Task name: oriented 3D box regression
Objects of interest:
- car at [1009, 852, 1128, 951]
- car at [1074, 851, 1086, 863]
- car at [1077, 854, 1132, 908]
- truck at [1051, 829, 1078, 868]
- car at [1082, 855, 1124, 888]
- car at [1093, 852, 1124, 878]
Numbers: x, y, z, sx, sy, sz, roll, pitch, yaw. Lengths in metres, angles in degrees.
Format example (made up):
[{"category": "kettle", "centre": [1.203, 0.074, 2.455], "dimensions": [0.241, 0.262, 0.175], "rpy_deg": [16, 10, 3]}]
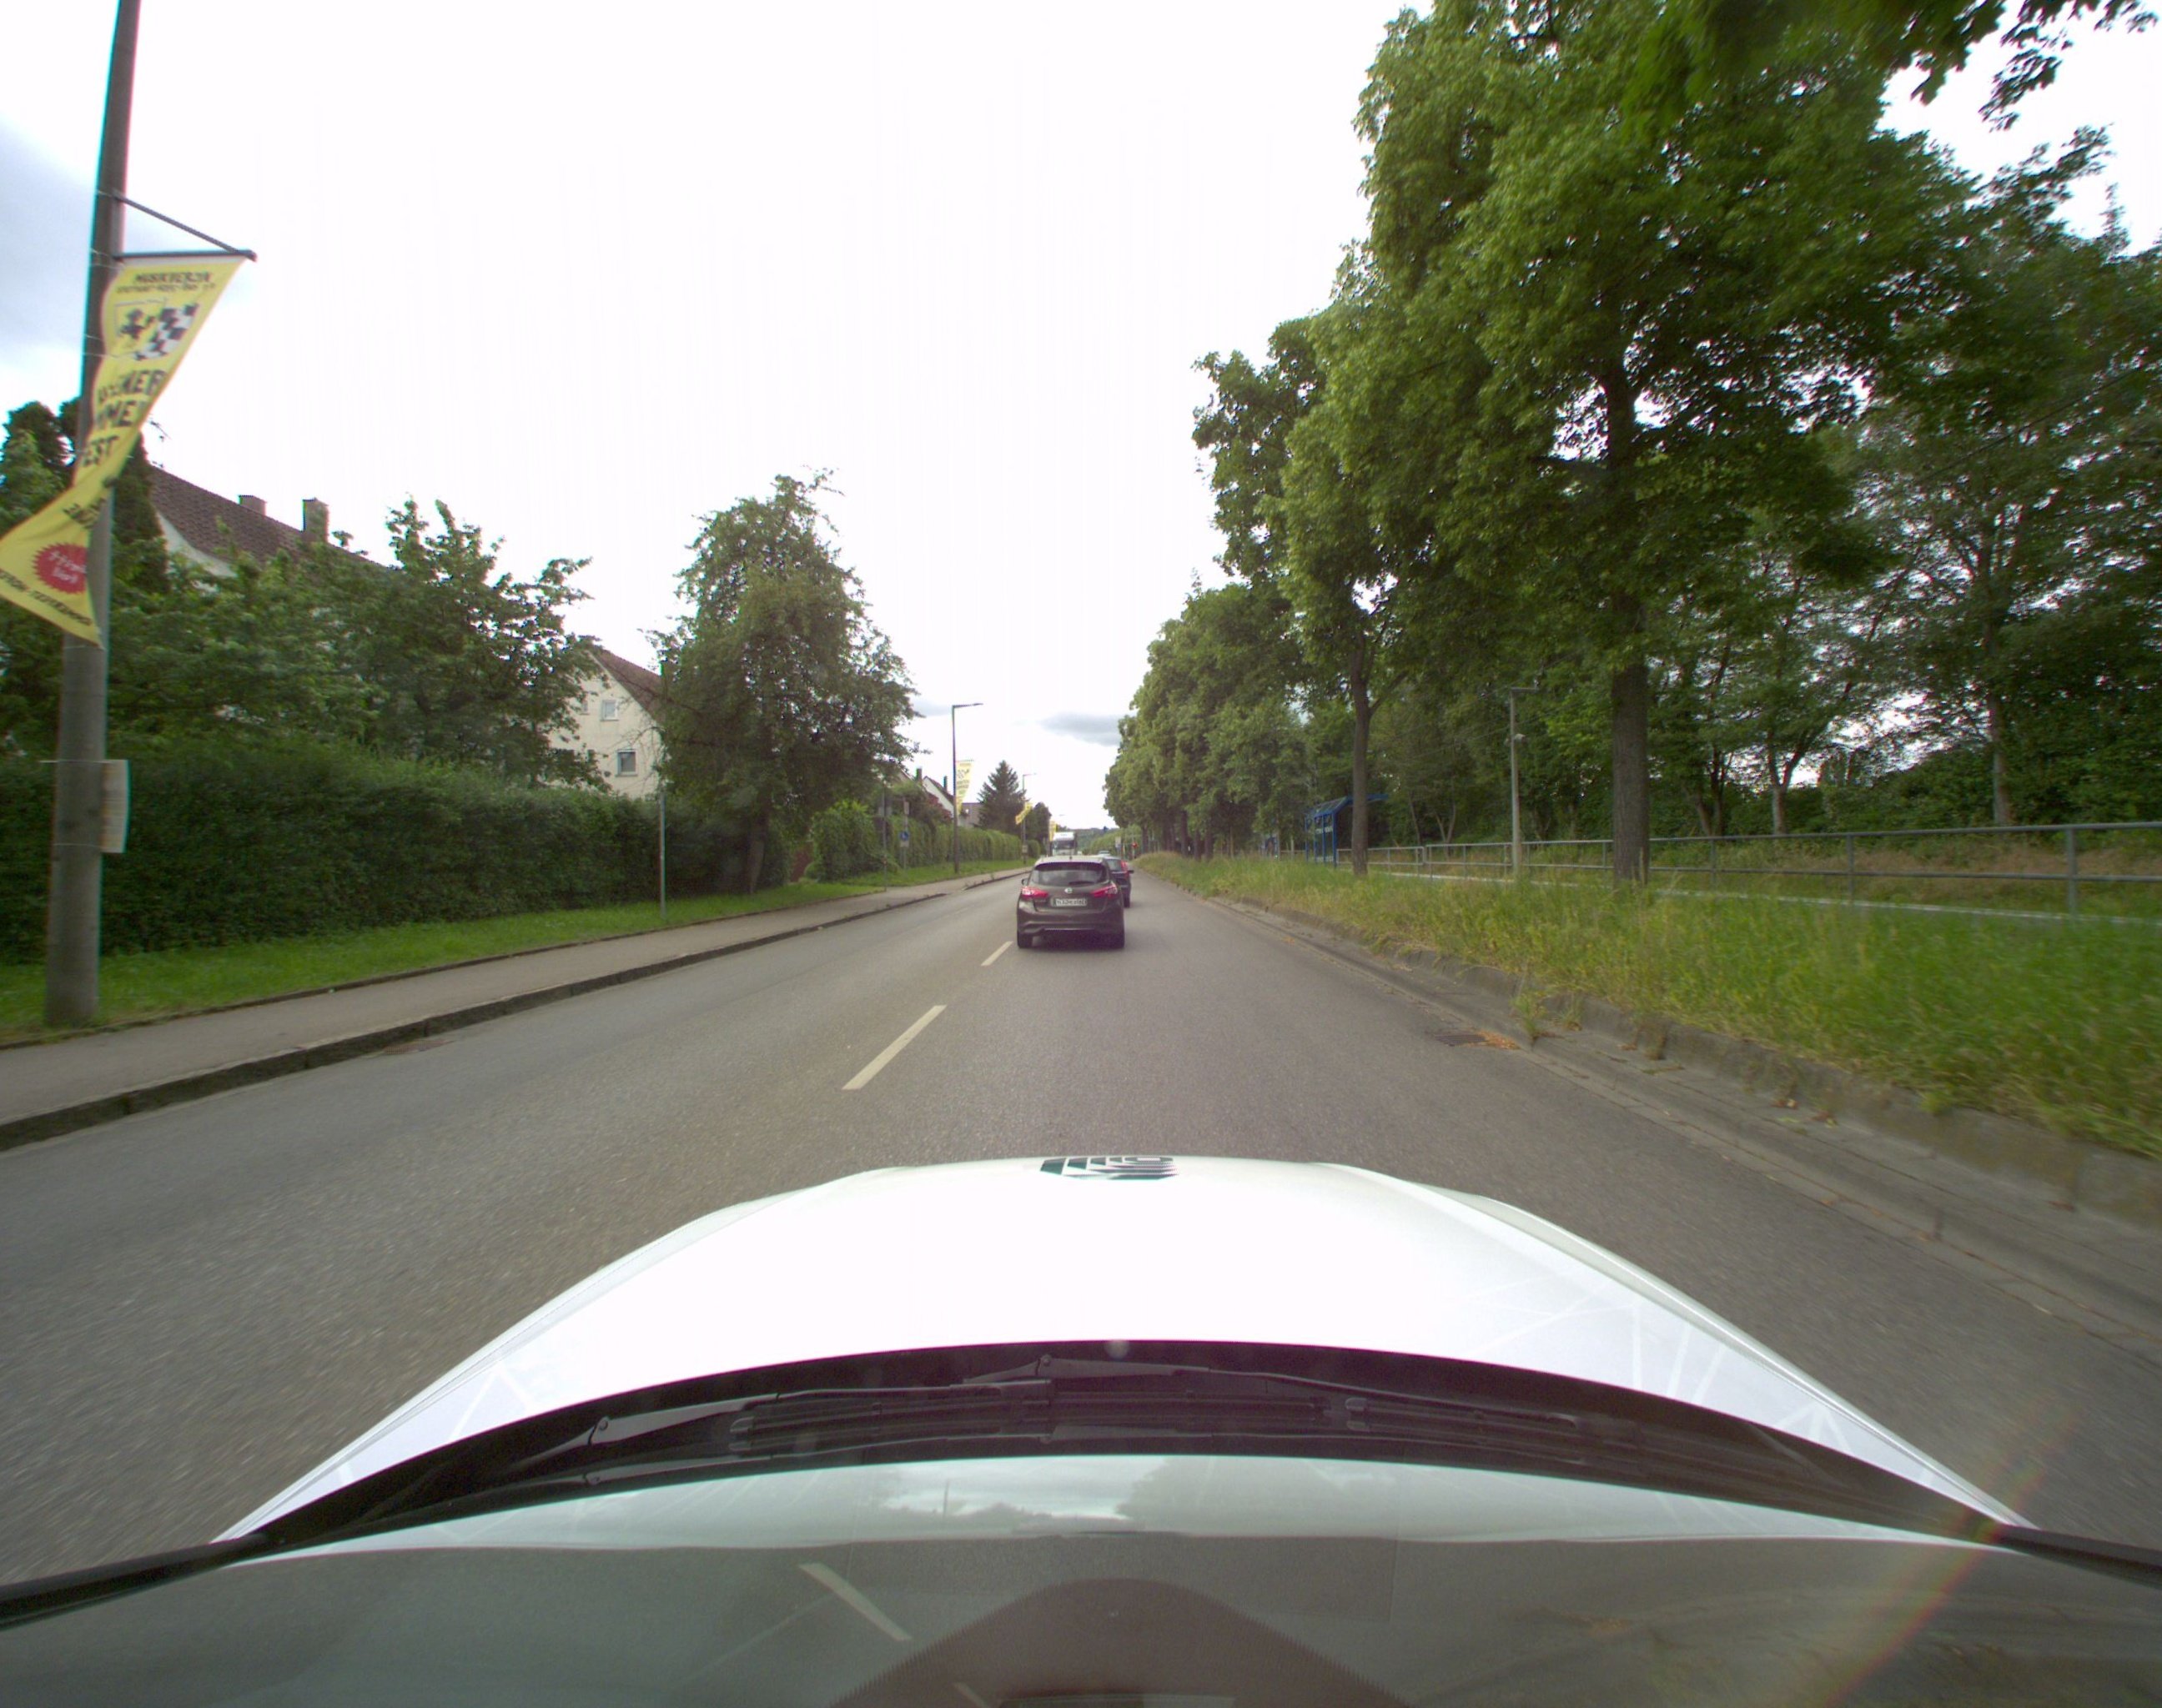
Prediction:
[{"category": "car", "centre": [-0.120, 0.741, 14.954], "dimensions": [1.828, 1.519, 4.484], "rpy_deg": [-1, 0, 2]}, {"category": "car", "centre": [-0.194, 0.449, 143.095], "dimensions": [1.901, 1.932, 4.909], "rpy_deg": [-2, 0, -1]}, {"category": "car", "centre": [0.714, 0.752, 24.746], "dimensions": [1.533, 1.478, 3.765], "rpy_deg": [-1, 0, 2]}, {"category": "truck", "centre": [-1.788, -0.564, 93.249], "dimensions": [2.541, 4.043, 10.620], "rpy_deg": [-3, -1, 1]}, {"category": "car", "centre": [1.034, 0.775, 37.516], "dimensions": [1.785, 1.397, 4.002], "rpy_deg": [-1, 0, 2]}, {"category": "car", "centre": [1.712, 0.632, 50.809], "dimensions": [1.785, 1.538, 4.002], "rpy_deg": [-1, 0, 2]}]
